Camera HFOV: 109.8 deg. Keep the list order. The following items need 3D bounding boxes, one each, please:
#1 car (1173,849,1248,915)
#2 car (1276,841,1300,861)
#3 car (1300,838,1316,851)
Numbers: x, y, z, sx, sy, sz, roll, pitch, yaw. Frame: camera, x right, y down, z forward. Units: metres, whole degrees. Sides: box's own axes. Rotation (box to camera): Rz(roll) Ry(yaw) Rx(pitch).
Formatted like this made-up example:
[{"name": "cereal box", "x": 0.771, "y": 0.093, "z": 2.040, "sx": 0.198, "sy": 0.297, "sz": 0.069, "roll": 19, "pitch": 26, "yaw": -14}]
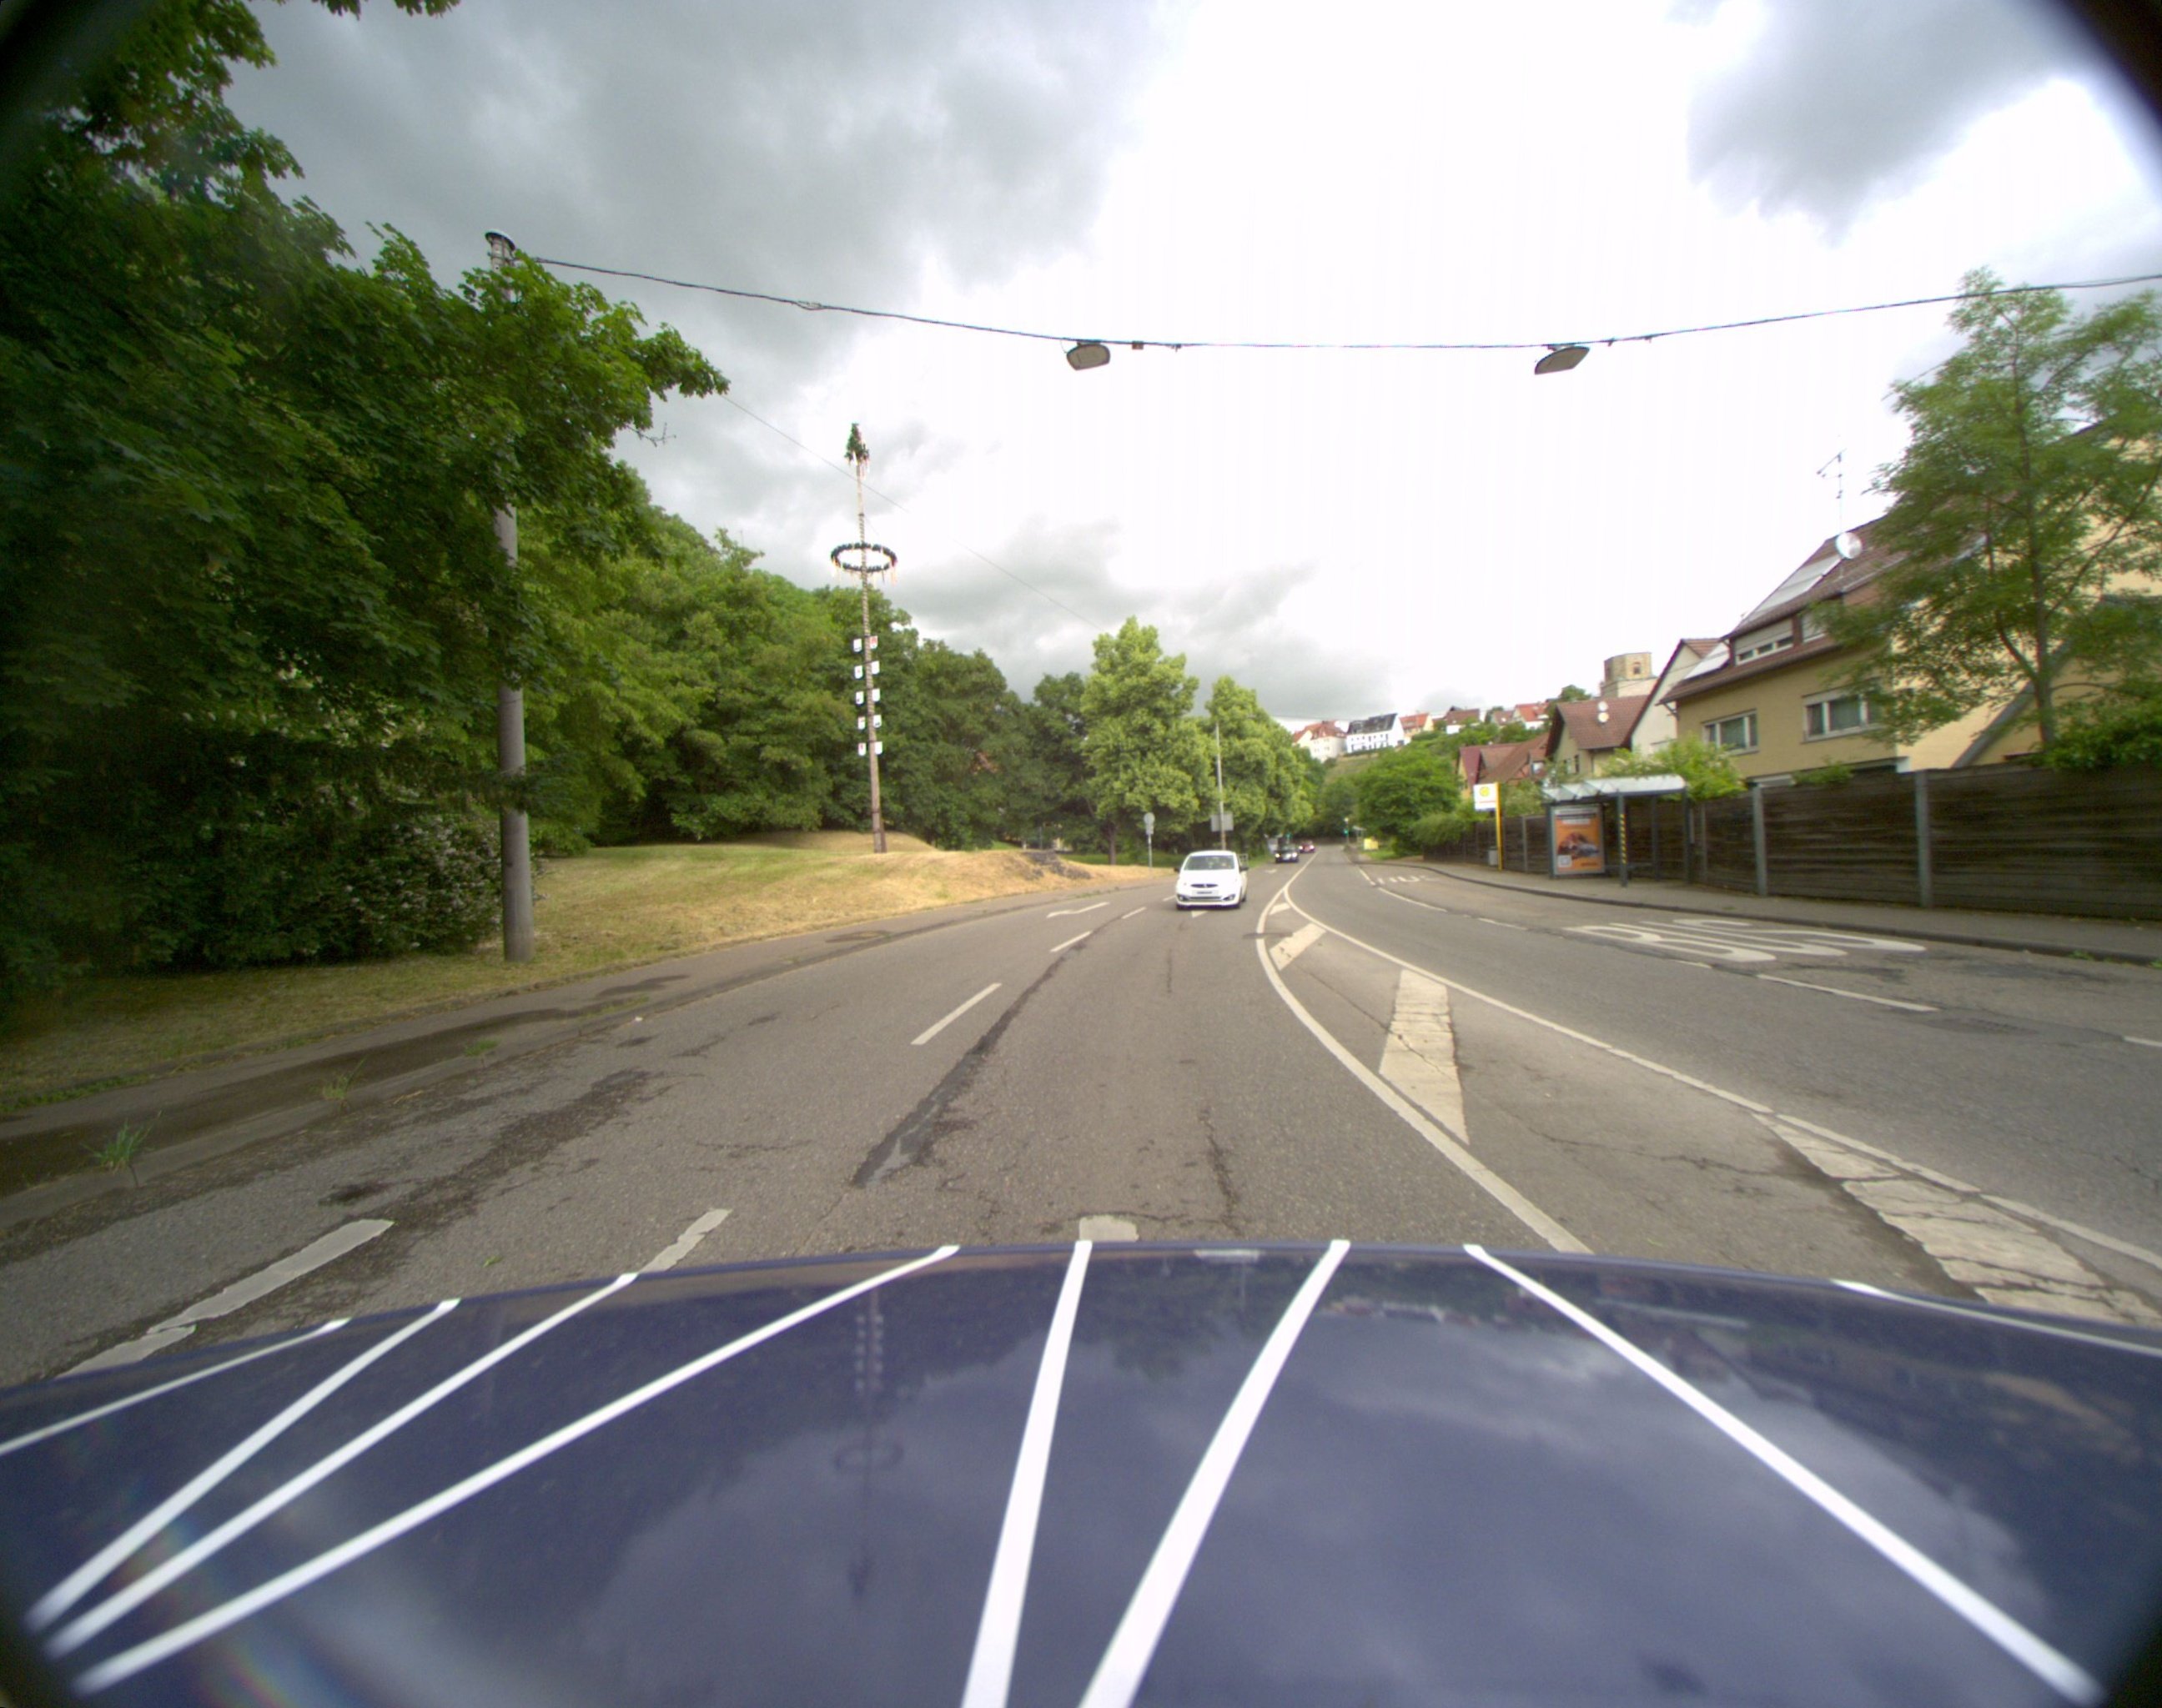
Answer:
[{"name": "car", "x": 3.527, "y": 0.677, "z": 20.238, "sx": 1.617, "sy": 1.505, "sz": 3.608, "roll": -2, "pitch": 1, "yaw": 15}, {"name": "car", "x": 16.937, "y": -0.273, "z": 62.055, "sx": 1.722, "sy": 1.539, "sz": 3.786, "roll": -2, "pitch": 1, "yaw": 18}, {"name": "car", "x": 30.912, "y": -1.273, "z": 103.380, "sx": 1.826, "sy": 1.662, "sz": 4.063, "roll": -2, "pitch": 1, "yaw": 18}]
